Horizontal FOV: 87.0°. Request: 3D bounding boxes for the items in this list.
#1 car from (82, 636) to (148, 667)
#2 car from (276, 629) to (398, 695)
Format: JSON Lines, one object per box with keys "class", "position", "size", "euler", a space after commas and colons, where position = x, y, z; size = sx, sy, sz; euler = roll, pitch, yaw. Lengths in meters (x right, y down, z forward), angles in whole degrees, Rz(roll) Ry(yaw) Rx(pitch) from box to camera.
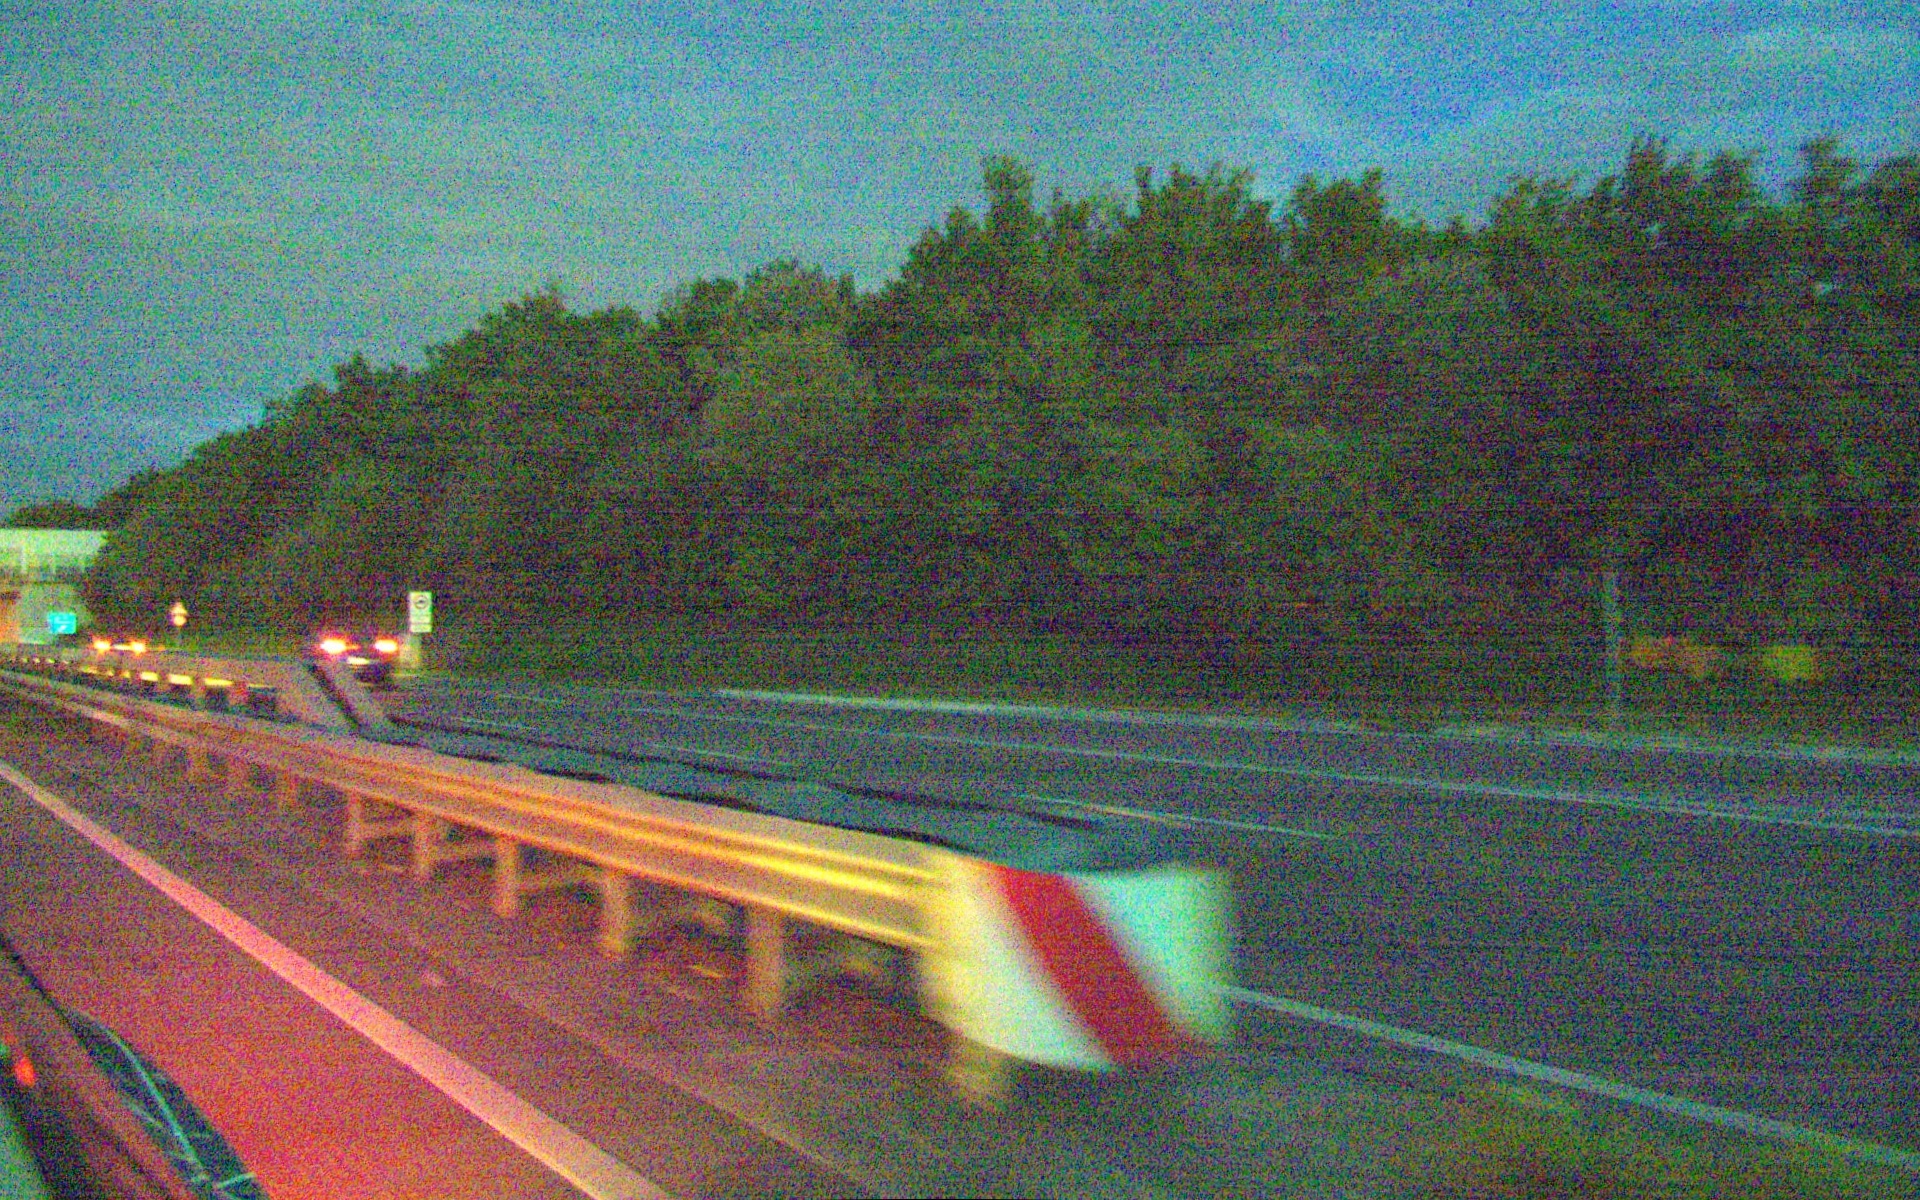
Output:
{"class": "car", "position": [-42.808, 2.590, 51.250], "size": [4.698, 1.498, 1.932], "euler": [-2, -4, 43]}
{"class": "car", "position": [-15.589, 1.523, 25.265], "size": [3.513, 1.531, 1.529], "euler": [-2, -4, 40]}
